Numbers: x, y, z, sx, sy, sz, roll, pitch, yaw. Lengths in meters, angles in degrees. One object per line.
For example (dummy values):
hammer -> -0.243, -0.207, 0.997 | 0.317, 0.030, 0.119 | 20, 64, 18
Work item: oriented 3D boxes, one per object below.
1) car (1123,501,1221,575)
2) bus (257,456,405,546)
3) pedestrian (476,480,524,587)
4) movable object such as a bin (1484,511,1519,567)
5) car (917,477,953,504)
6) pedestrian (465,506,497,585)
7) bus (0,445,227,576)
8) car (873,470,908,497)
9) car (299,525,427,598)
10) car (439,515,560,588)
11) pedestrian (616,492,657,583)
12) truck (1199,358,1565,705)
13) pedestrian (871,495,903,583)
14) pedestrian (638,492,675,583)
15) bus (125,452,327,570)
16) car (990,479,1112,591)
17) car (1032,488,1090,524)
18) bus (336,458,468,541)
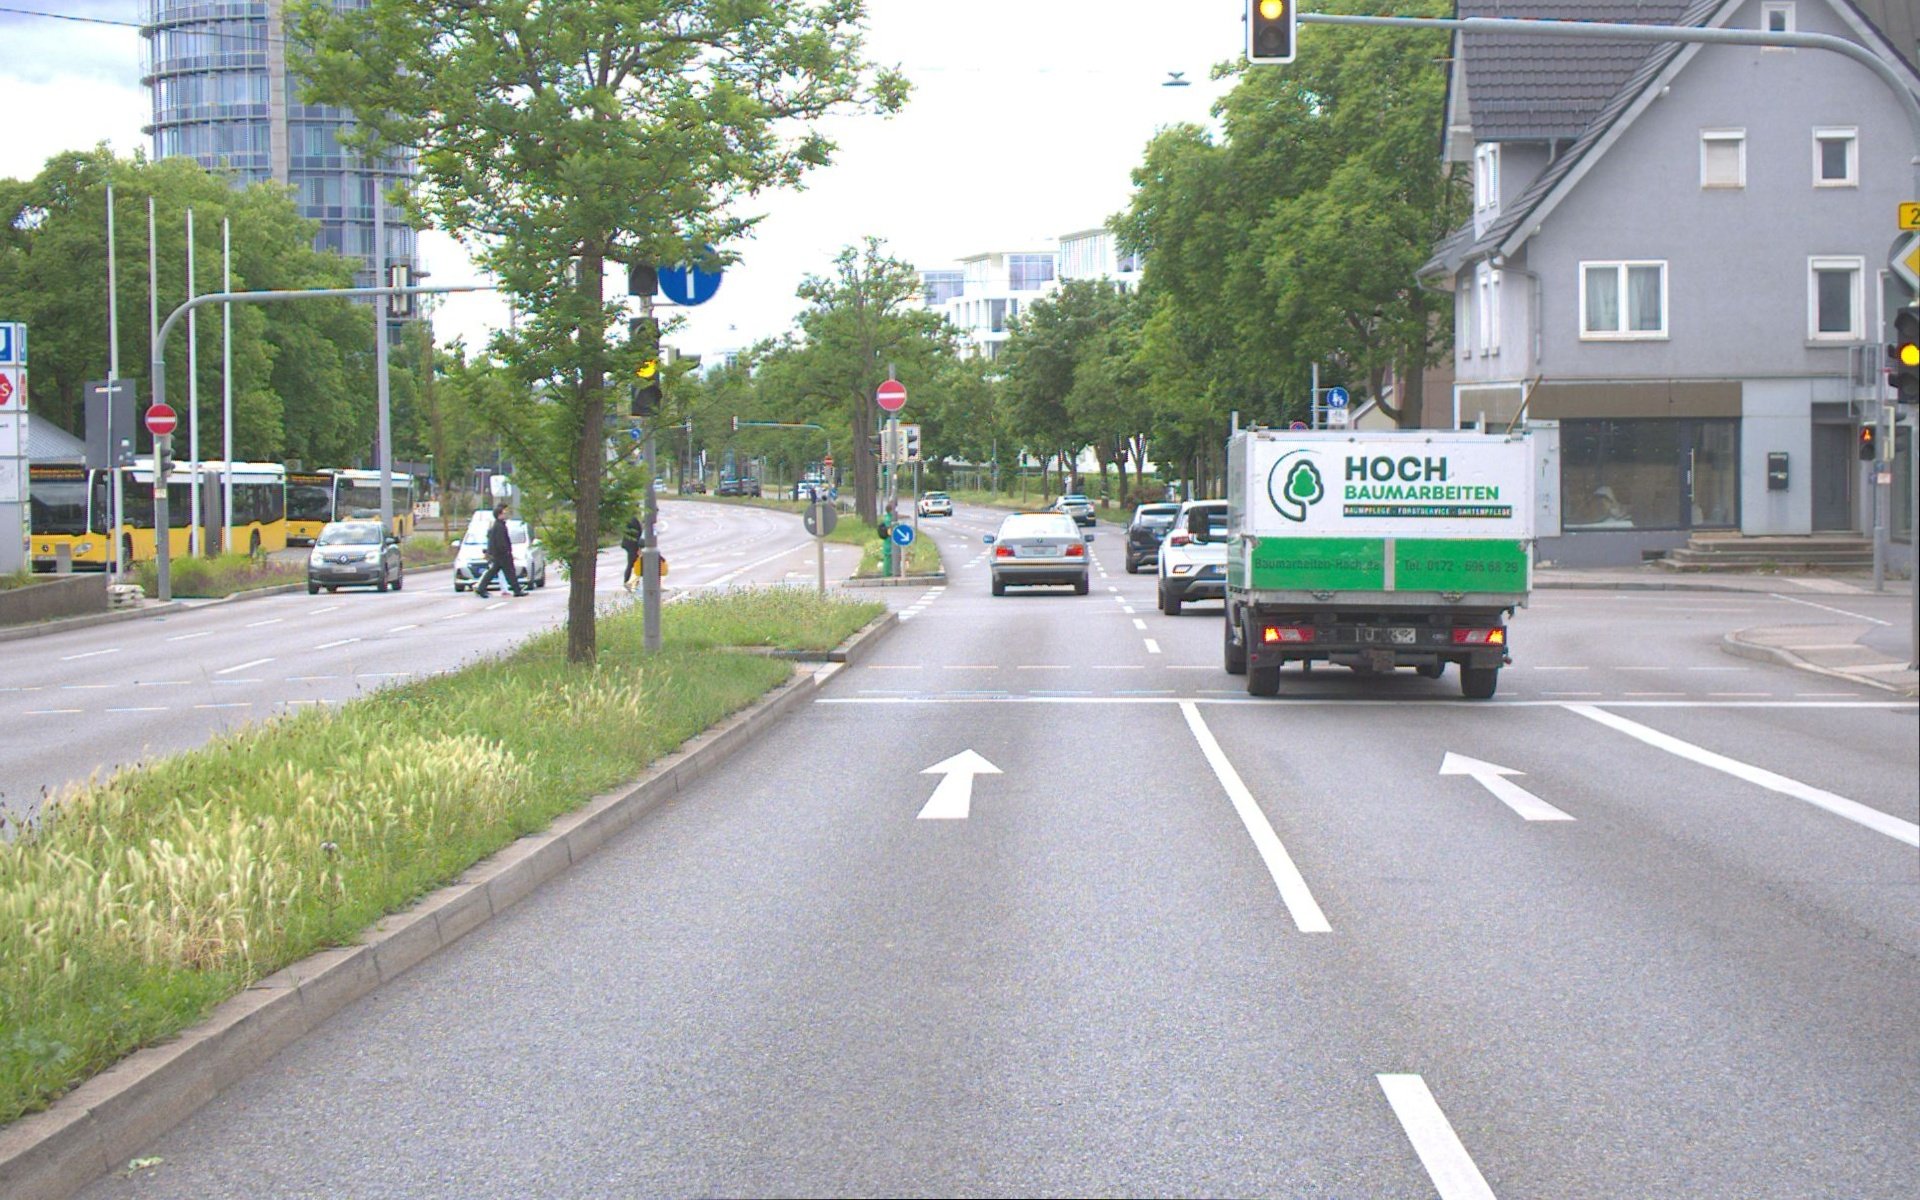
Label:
car -> 4.573, -1.359, 74.600 | 1.993, 1.546, 4.000 | 1, 2, 2
bus -> -25.147, -3.949, 138.037 | 2.832, 3.419, 10.731 | -1, 1, 6
pedestrian -> -8.676, -1.252, 64.898 | 0.830, 2.007, 0.546 | -1, 1, -5
movable object such as a bin -> 10.349, -1.166, 65.718 | 0.604, 1.056, 0.589 | 1, 1, 4
car -> -1.479, -6.356, 199.488 | 1.993, 1.514, 4.001 | -1, 2, -2
pedestrian -> -9.168, -1.047, 65.796 | 0.543, 1.490, 0.487 | -1, 1, -3
bus -> -23.598, -2.499, 96.119 | 2.832, 3.419, 10.731 | -1, 1, 6
car -> -4.040, -6.721, 198.957 | 1.993, 1.514, 4.001 | -1, 2, -2
car -> -12.865, -0.860, 74.307 | 1.993, 1.481, 4.000 | -1, 1, 1
car -> -9.873, -1.069, 73.997 | 1.993, 1.481, 4.000 | -1, 1, 1
pedestrian -> -6.170, -1.196, 65.615 | 0.745, 1.710, 0.583 | -1, 1, -5
truck -> 3.417, -0.669, 29.301 | 2.471, 2.602, 6.548 | 1, 3, 2
pedestrian -> -1.443, -1.200, 67.817 | 0.583, 1.710, 0.546 | -1, 1, -5
pedestrian -> -5.735, -1.188, 65.020 | 0.653, 1.710, 0.452 | -1, 1, -5
bus -> -22.528, -2.755, 106.203 | 2.832, 3.419, 10.731 | -1, 1, 6
car -> 1.560, -1.123, 58.474 | 1.993, 1.824, 4.000 | 0, 2, 2
car -> 4.479, -4.195, 153.529 | 1.993, 1.546, 4.001 | -1, 2, -7
bus -> -24.028, -4.325, 148.731 | 2.832, 3.419, 10.731 | -1, 1, 6
